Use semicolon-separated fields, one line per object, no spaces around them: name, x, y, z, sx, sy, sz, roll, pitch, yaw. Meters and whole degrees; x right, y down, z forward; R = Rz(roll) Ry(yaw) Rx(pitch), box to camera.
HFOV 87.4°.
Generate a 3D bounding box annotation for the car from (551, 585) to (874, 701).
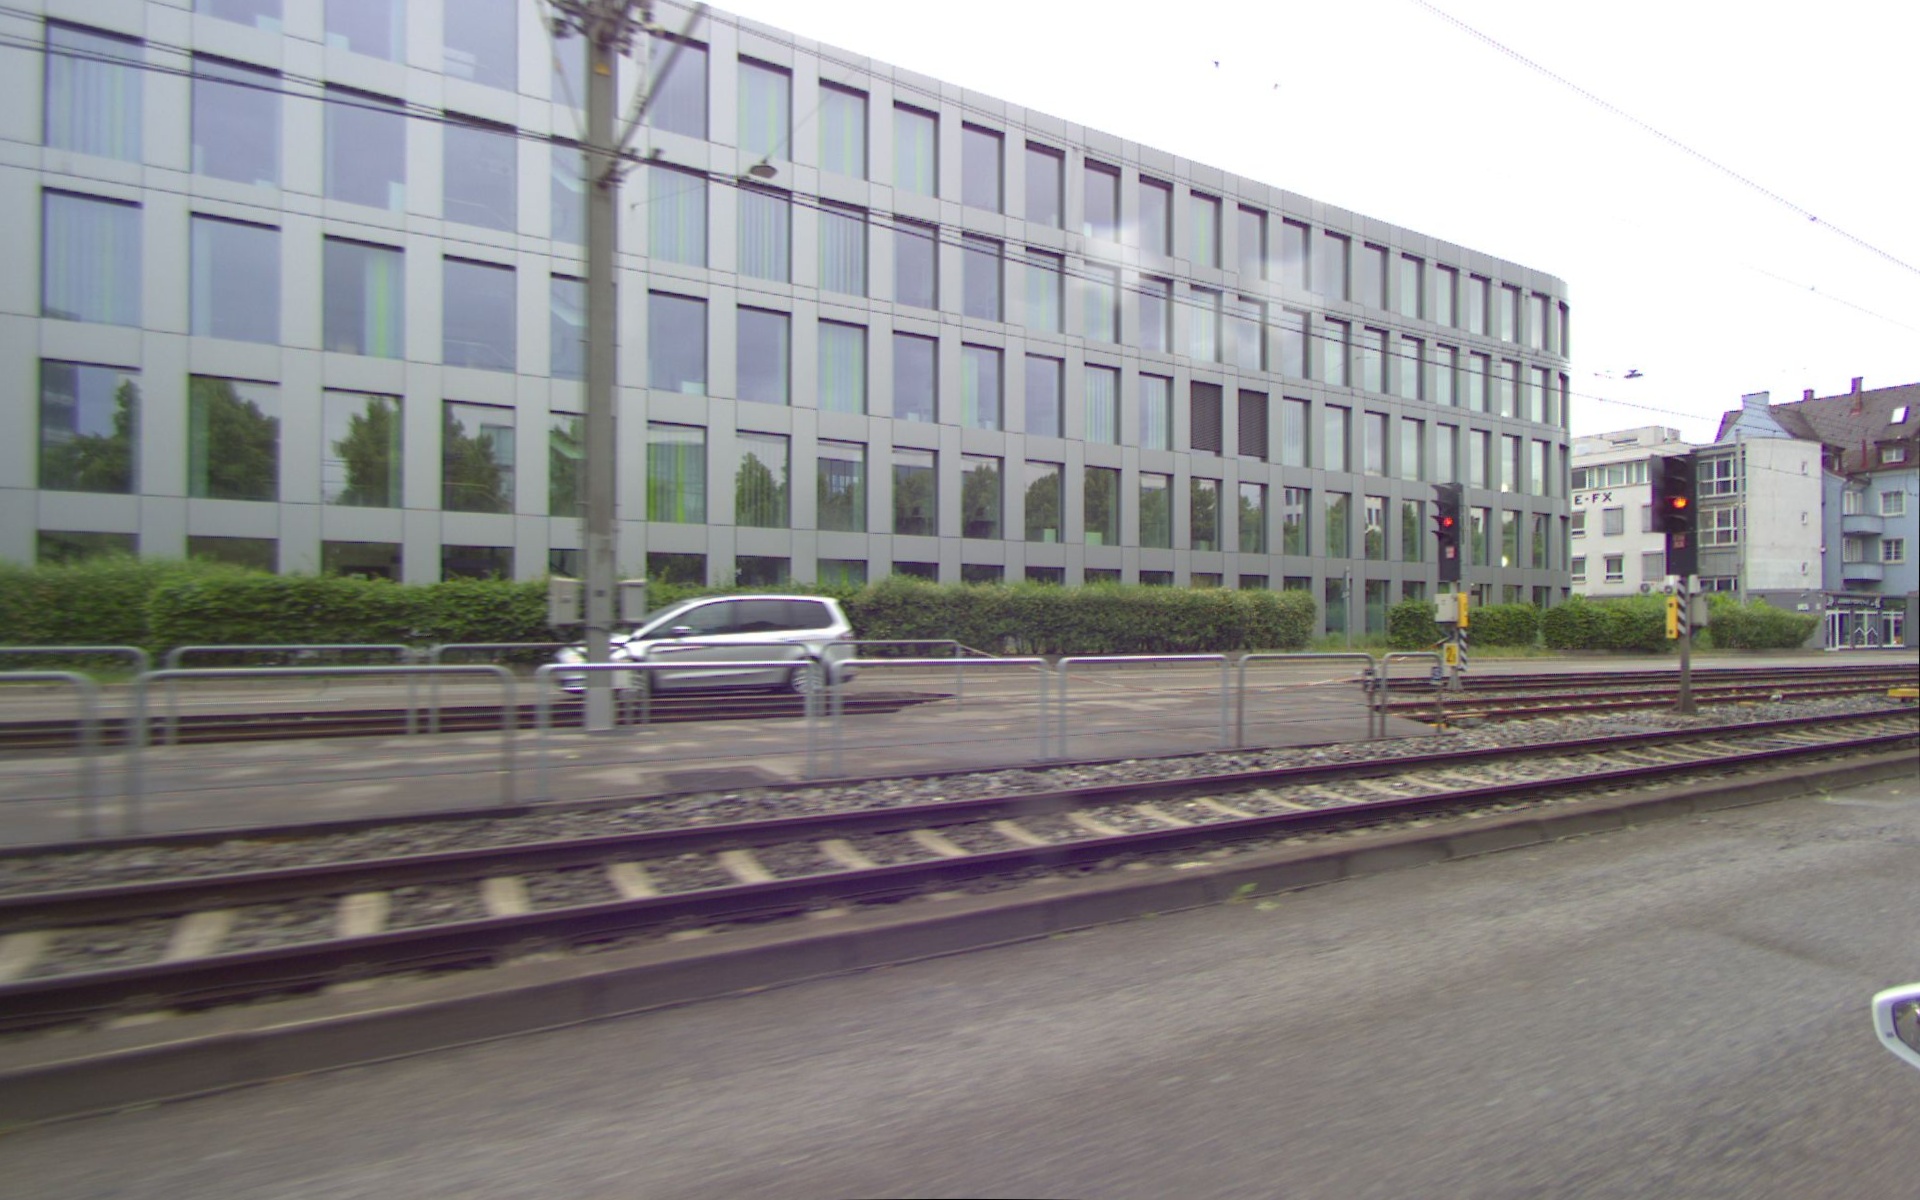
car;-3.995;0.692;16.463;4.824;1.666;1.894;1;-1;-29
